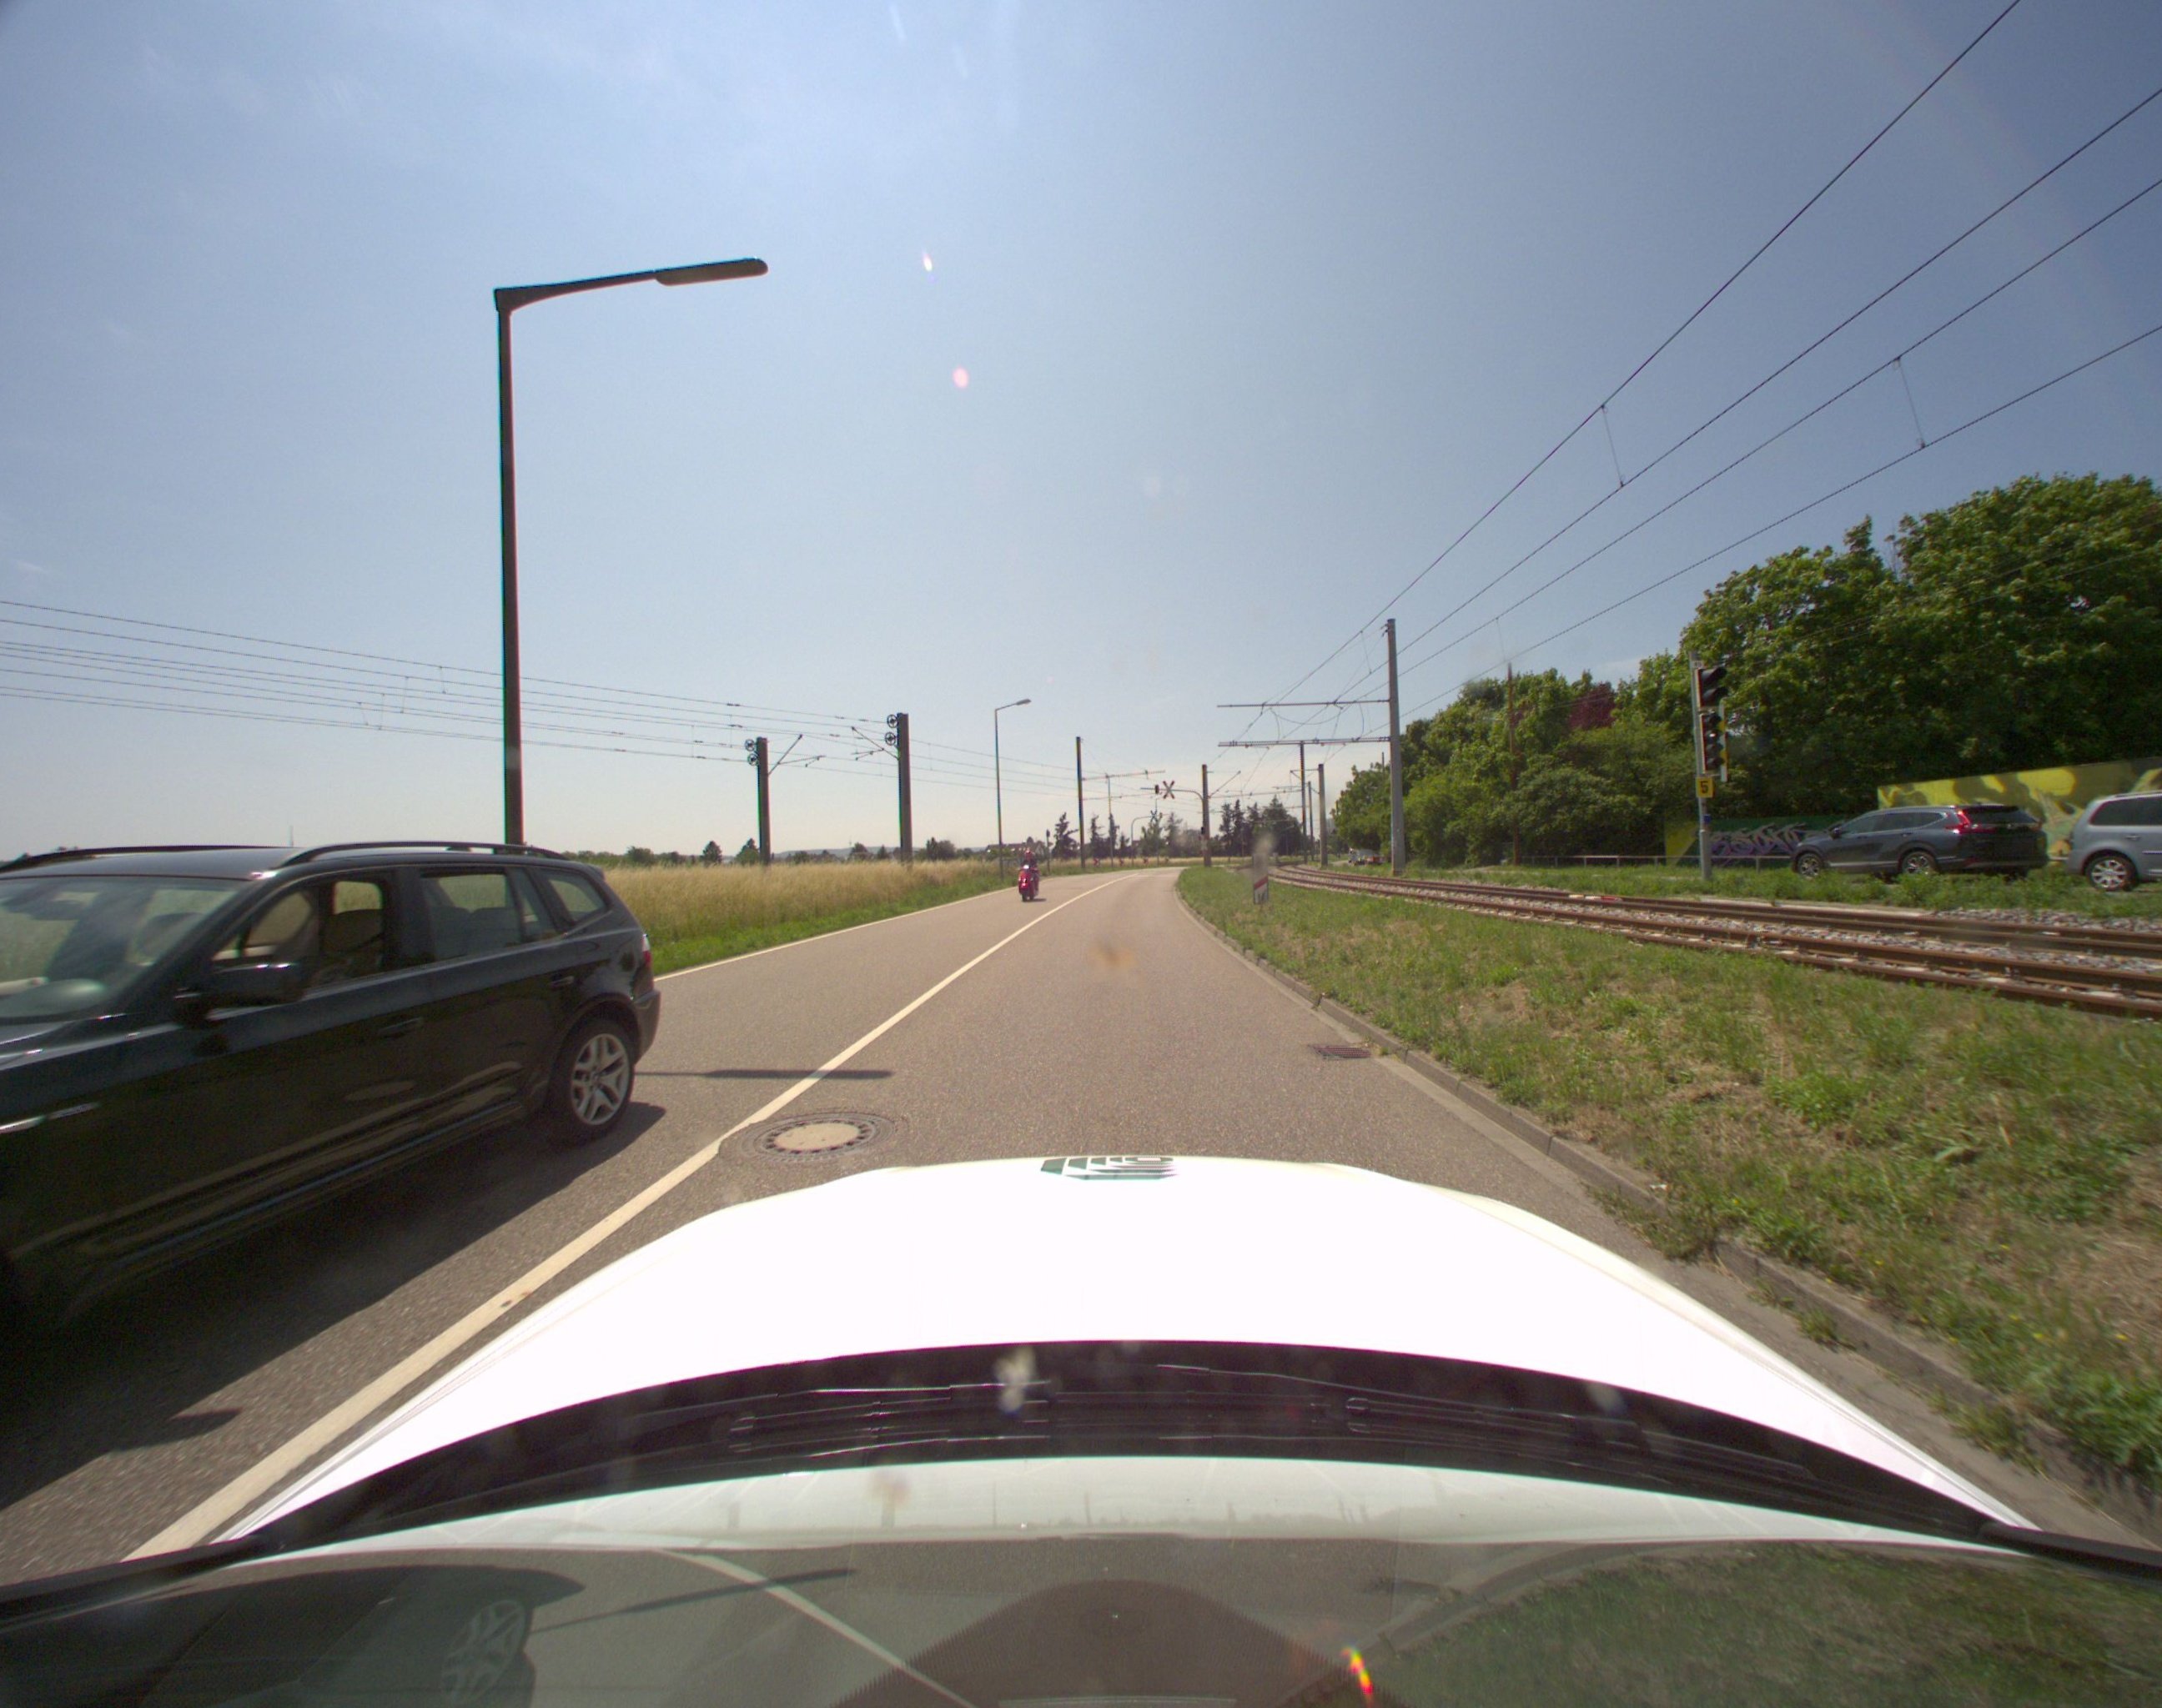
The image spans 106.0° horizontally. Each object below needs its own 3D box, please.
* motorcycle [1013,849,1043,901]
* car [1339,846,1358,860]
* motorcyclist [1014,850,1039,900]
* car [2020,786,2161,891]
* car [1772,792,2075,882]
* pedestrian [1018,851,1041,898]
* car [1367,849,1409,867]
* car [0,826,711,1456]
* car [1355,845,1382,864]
[{"bbox_3d":[-1.757,0.668,27.186,0.701,1.586,2.148,-2,1,2],"label":"motorcycle"},{"bbox_3d":[38.531,-0.172,117.157,2.018,1.882,5.097,-3,-2,24],"label":"car"},{"bbox_3d":[-1.792,0.689,26.959,0.686,1.586,0.670,-2,2,2],"label":"motorcyclist"},{"bbox_3d":[17.648,-0.283,12.178,1.671,1.624,4.709,-2,-2,-1],"label":"car"},{"bbox_3d":[18.286,-0.263,18.126,1.820,1.657,4.818,-2,-2,2],"label":"car"},{"bbox_3d":[-1.746,0.696,27.659,0.640,1.536,0.578,-2,1,2],"label":"pedestrian"},{"bbox_3d":[22.161,0.283,58.916,1.639,1.171,3.668,-2,-2,1],"label":"car"},{"bbox_3d":[-3.607,0.754,3.413,1.819,1.601,4.488,-2,0,3],"label":"car"},{"bbox_3d":[24.634,0.071,69.886,1.783,1.426,4.758,-3,-2,14],"label":"car"}]
